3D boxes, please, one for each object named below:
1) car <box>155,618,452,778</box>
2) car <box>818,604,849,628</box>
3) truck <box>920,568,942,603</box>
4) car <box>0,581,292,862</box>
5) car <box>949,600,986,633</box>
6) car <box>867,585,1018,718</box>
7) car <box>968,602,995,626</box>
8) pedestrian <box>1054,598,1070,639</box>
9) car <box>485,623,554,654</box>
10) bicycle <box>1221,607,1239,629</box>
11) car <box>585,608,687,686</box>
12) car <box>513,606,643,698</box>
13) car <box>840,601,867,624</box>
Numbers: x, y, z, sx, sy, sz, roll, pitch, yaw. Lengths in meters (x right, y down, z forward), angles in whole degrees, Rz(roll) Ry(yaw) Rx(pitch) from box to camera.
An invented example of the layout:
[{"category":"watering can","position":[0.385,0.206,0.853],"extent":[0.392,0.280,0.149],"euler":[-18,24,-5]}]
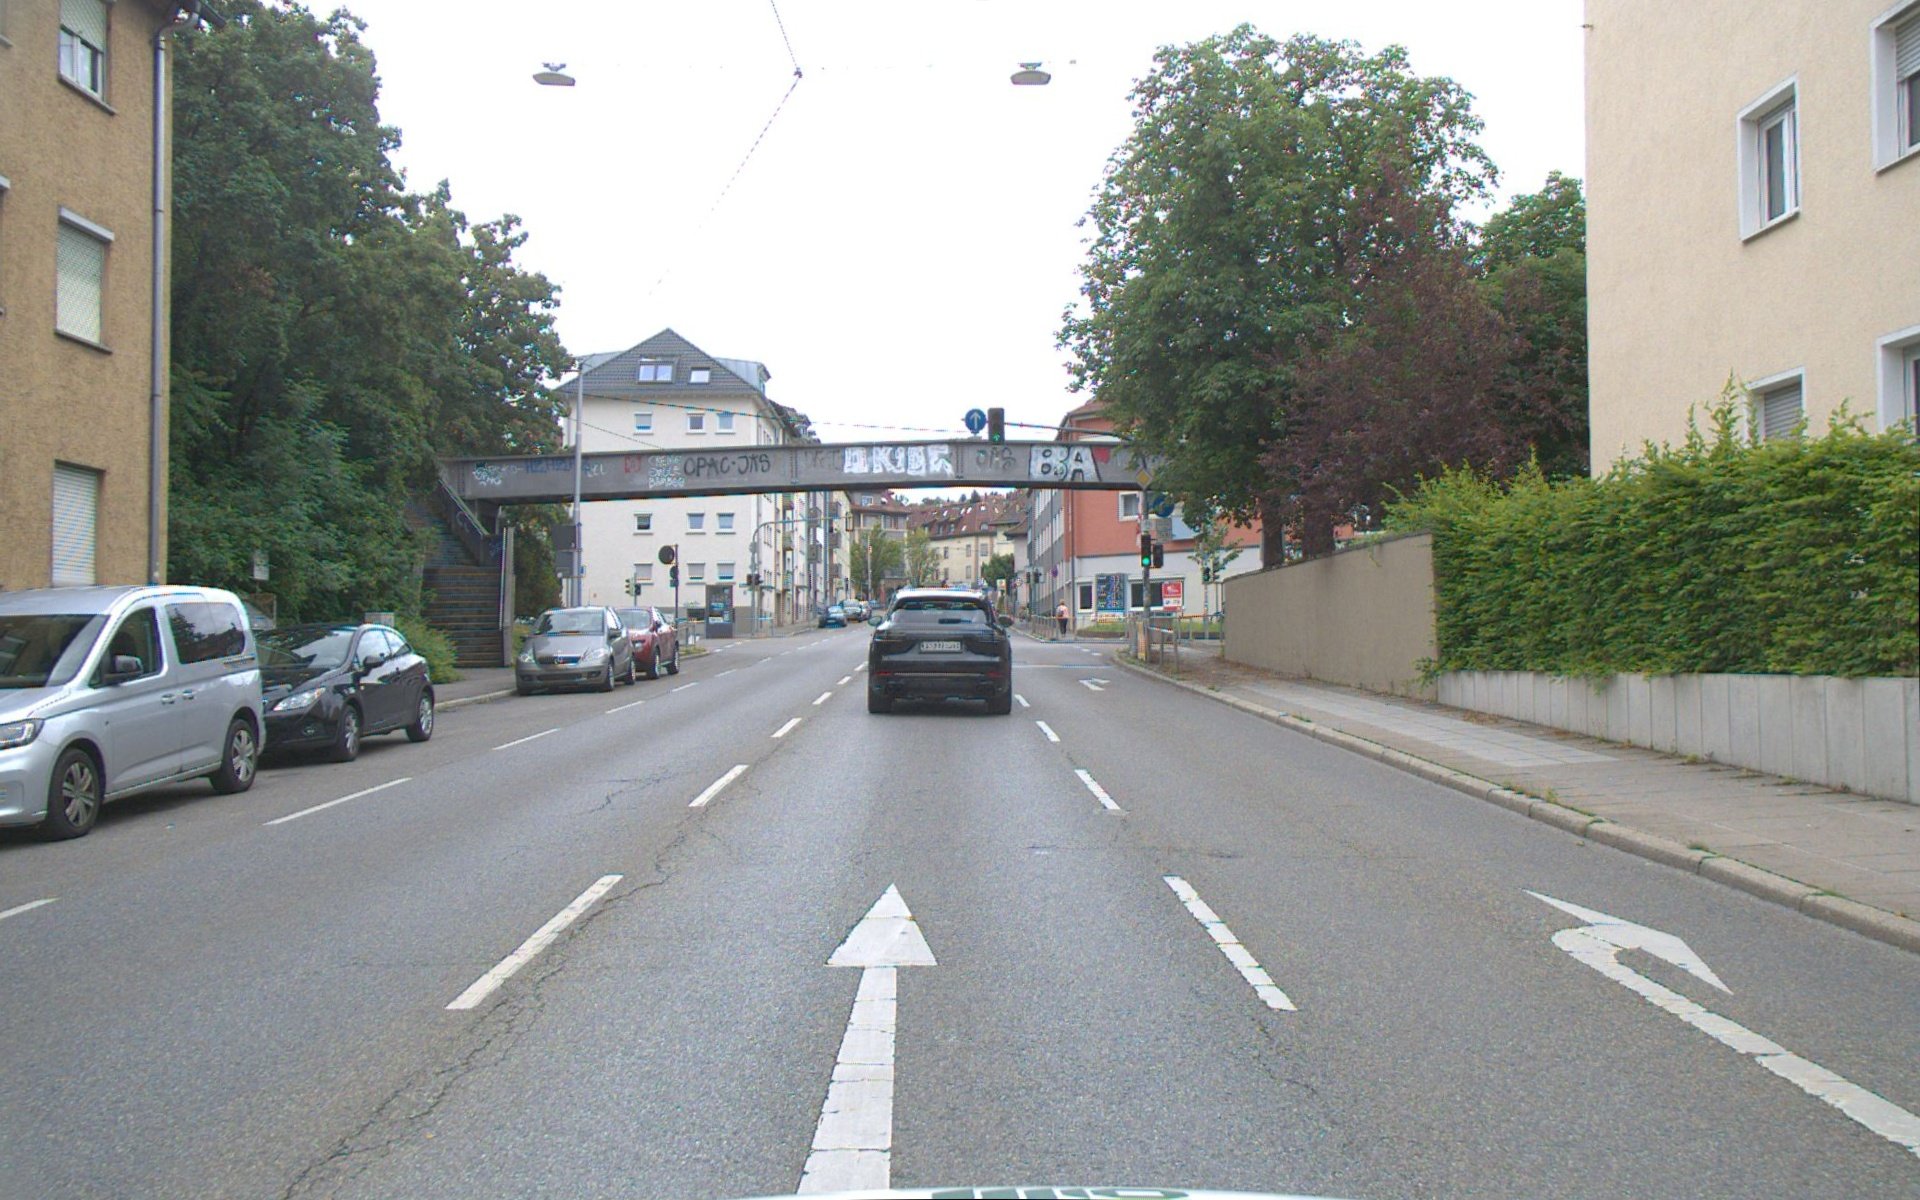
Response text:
[{"category":"car","position":[-7.048,0.987,18.213],"extent":[1.710,1.464,3.912],"euler":[-2,0,-1]},{"category":"car","position":[-8.359,1.066,109.535],"extent":[1.729,1.534,4.000],"euler":[-1,0,0]},{"category":"truck","position":[-3.067,-1.454,173.597],"extent":[2.220,3.484,9.876],"euler":[-1,0,-1]},{"category":"car","position":[-6.955,0.796,12.796],"extent":[1.740,1.784,4.556],"euler":[-2,0,-1]},{"category":"car","position":[0.328,0.749,77.435],"extent":[1.706,1.424,4.000],"euler":[0,1,0]},{"category":"car","position":[-0.243,0.649,23.418],"extent":[1.953,1.691,4.000],"euler":[0,1,0]},{"category":"car","position":[1.375,0.890,106.444],"extent":[1.706,1.424,4.000],"euler":[0,1,0]},{"category":"pedestrian","position":[4.571,0.830,74.113],"extent":[0.639,1.823,0.714],"euler":[0,0,-3]},{"category":"car","position":[-22.621,1.971,84.844],"extent":[1.793,1.536,3.936],"euler":[-1,0,-44]},{"category":"bicycle","position":[11.377,0.762,69.651],"extent":[0.333,0.919,1.743],"euler":[0,0,22]},{"category":"car","position":[-7.148,1.004,36.820],"extent":[1.502,1.567,3.981],"euler":[-2,0,-1]},{"category":"car","position":[-7.283,0.947,31.902],"extent":[1.711,1.596,3.906],"euler":[-2,0,-3]},{"category":"car","position":[-8.095,0.920,126.153],"extent":[1.729,1.679,4.000],"euler":[-1,0,0]}]
